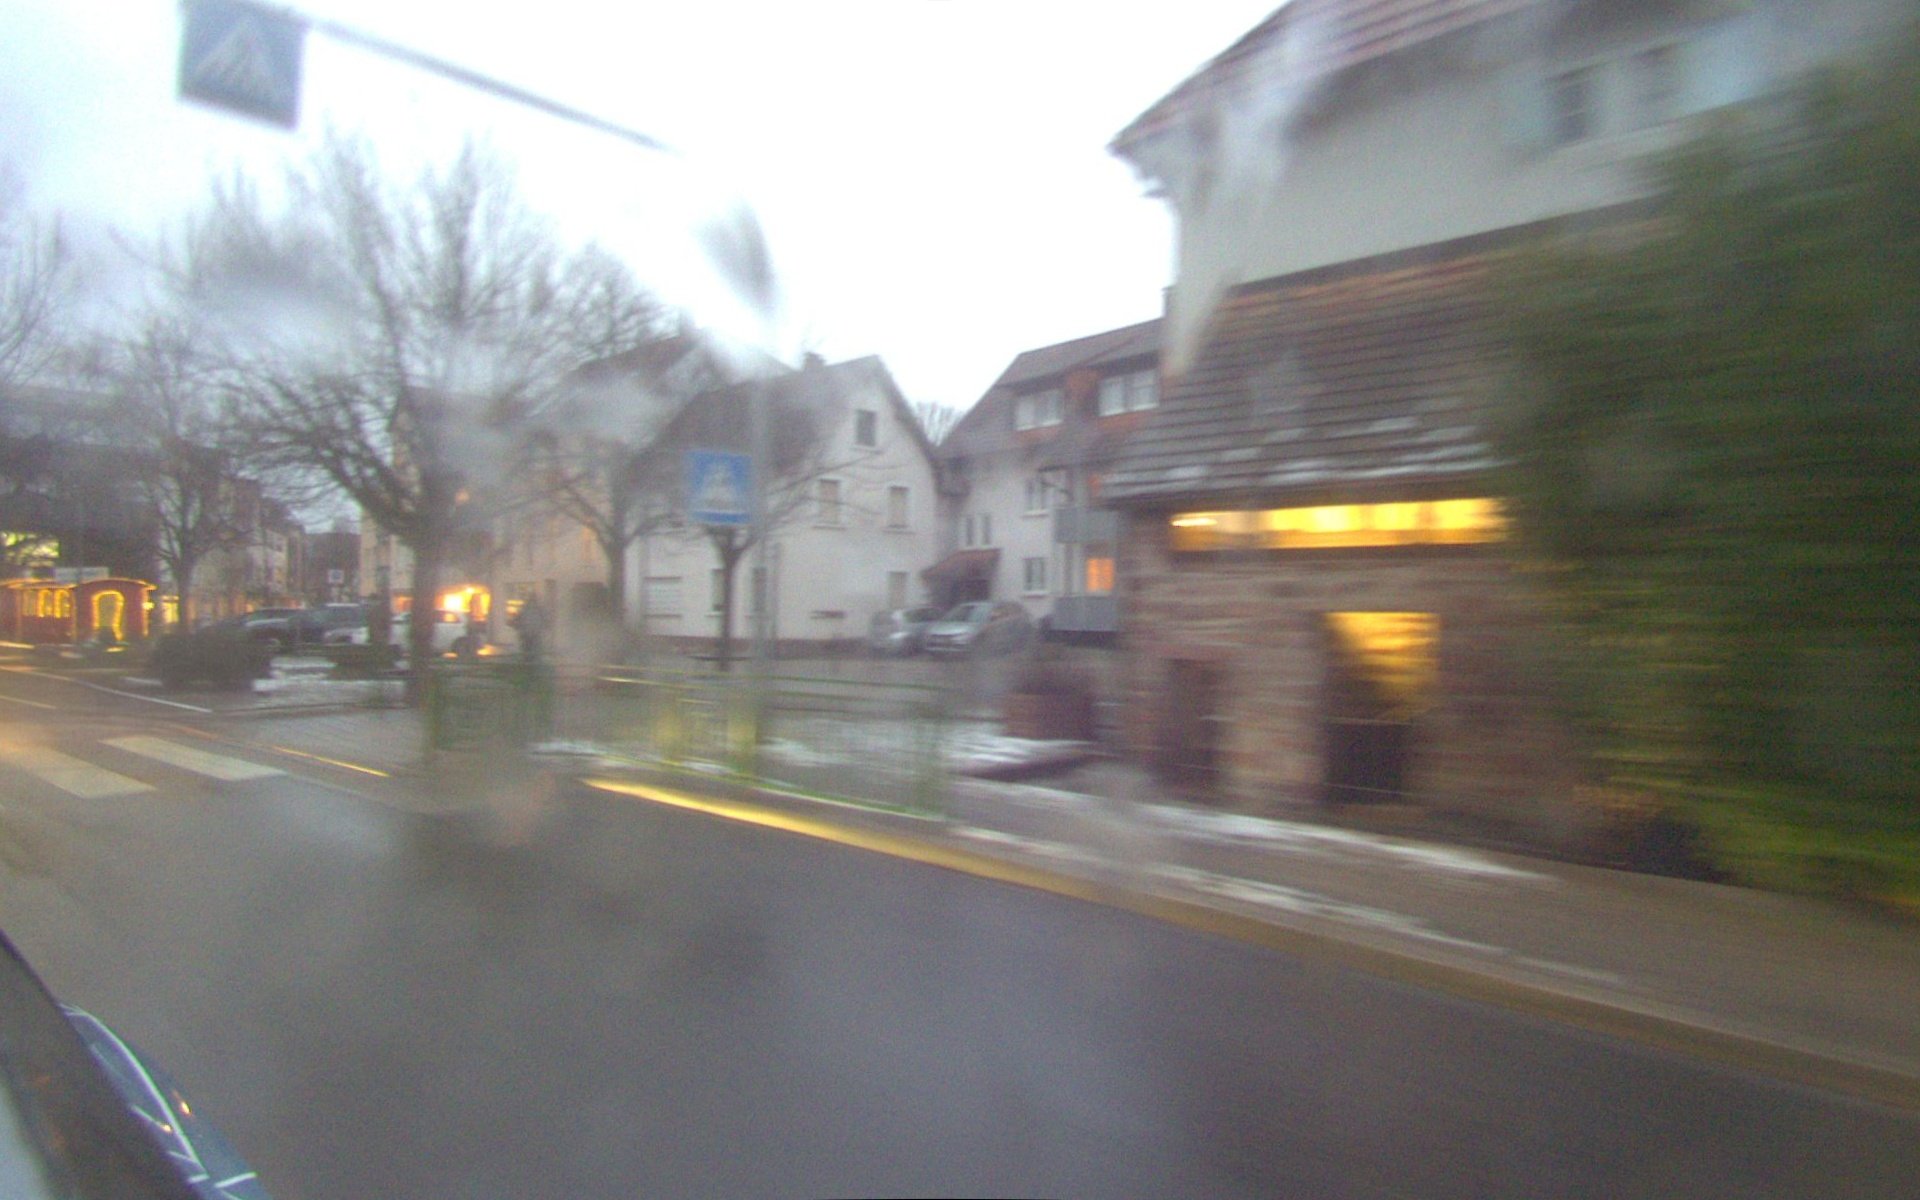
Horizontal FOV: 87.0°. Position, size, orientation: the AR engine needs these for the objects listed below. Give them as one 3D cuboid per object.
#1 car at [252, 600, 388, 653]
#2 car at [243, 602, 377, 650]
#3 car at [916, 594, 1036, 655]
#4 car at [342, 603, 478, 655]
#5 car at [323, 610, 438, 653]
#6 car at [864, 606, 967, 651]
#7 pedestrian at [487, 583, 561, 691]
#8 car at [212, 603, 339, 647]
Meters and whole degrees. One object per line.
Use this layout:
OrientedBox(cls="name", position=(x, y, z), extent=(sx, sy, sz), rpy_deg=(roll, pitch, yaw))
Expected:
OrientedBox(cls="car", position=(-21.096, 0.847, 33.508), extent=(3.572, 1.624, 1.616), rpy_deg=(-1, 0, -24))
OrientedBox(cls="car", position=(-22.991, 0.896, 35.932), extent=(3.932, 1.644, 1.639), rpy_deg=(0, -1, -32))
OrientedBox(cls="car", position=(0.535, 0.713, 30.994), extent=(1.713, 1.624, 3.561), rpy_deg=(-1, 1, 42))
OrientedBox(cls="car", position=(-16.477, 0.850, 30.502), extent=(3.425, 1.420, 1.616), rpy_deg=(-1, 0, -22))
OrientedBox(cls="car", position=(-18.399, 0.979, 32.246), extent=(3.002, 1.229, 1.616), rpy_deg=(-1, 0, -24))
OrientedBox(cls="car", position=(-1.405, 0.898, 32.704), extent=(3.011, 1.134, 1.530), rpy_deg=(-6, 4, -45))
OrientedBox(cls="pedestrian", position=(-7.359, 0.608, 17.076), extent=(0.869, 1.748, 0.957), rpy_deg=(0, -1, -42))
OrientedBox(cls="car", position=(-26.603, 0.954, 39.477), extent=(3.931, 1.644, 1.640), rpy_deg=(0, -1, -28))
